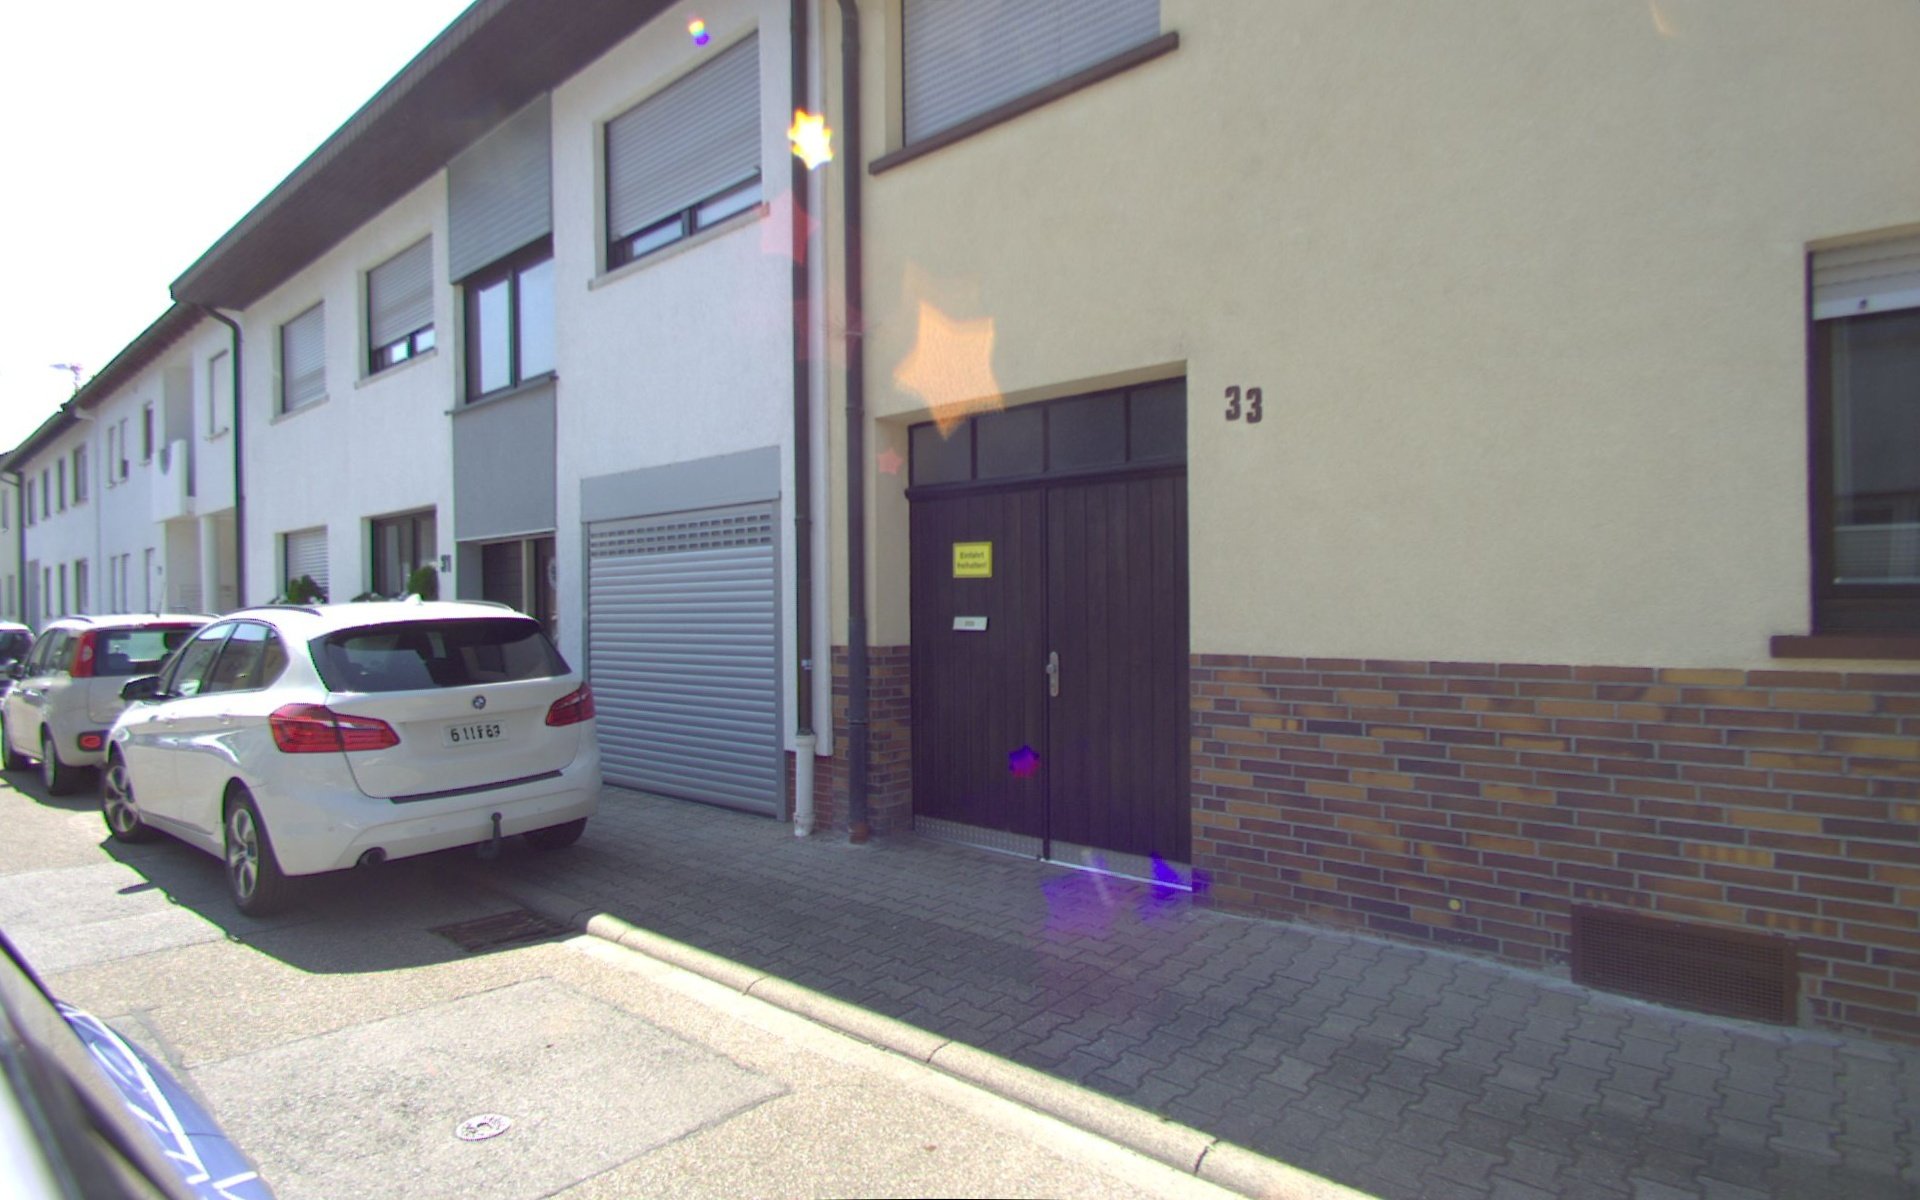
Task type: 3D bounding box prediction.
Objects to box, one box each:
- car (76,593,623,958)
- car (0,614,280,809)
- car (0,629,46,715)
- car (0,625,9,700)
[{"bbox_3d":[-3.992,0.798,6.361,3.937,1.560,1.647,-1,2,39],"label":"car"},{"bbox_3d":[-8.264,0.929,9.914,3.684,1.553,1.647,-1,-1,39],"label":"car"},{"bbox_3d":[-17.690,1.266,18.180,3.213,1.454,1.585,-2,-2,42],"label":"car"},{"bbox_3d":[-21.243,1.302,21.419,3.024,1.540,1.395,-1,-2,42],"label":"car"}]
